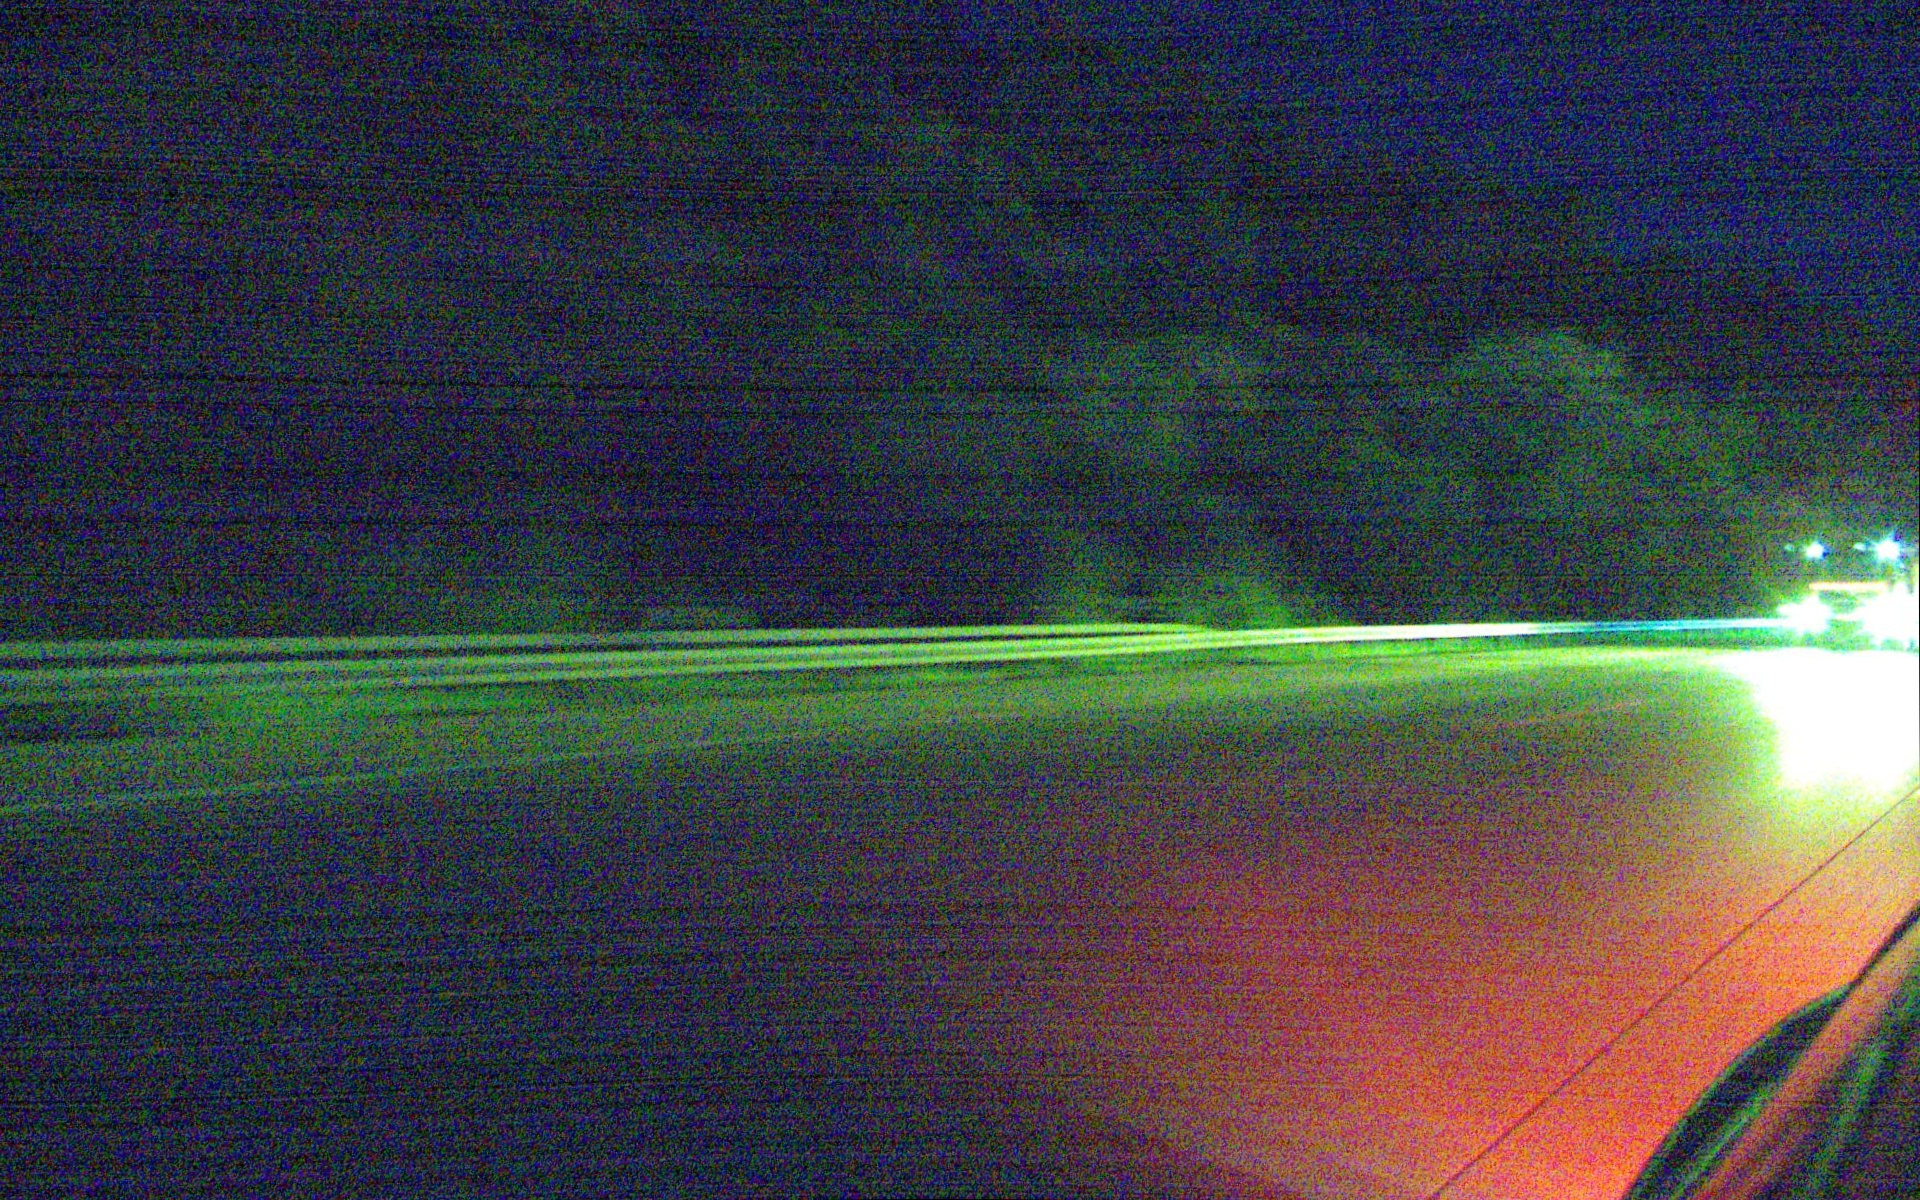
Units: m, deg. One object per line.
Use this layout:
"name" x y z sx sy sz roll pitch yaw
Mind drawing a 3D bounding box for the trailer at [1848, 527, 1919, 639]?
"trailer" 38.857 -0.526 39.881 12.640 3.982 2.883 1 -1 -35

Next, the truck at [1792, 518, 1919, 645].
"truck" 31.370 -0.605 34.464 7.904 3.888 2.875 -1 1 -37
